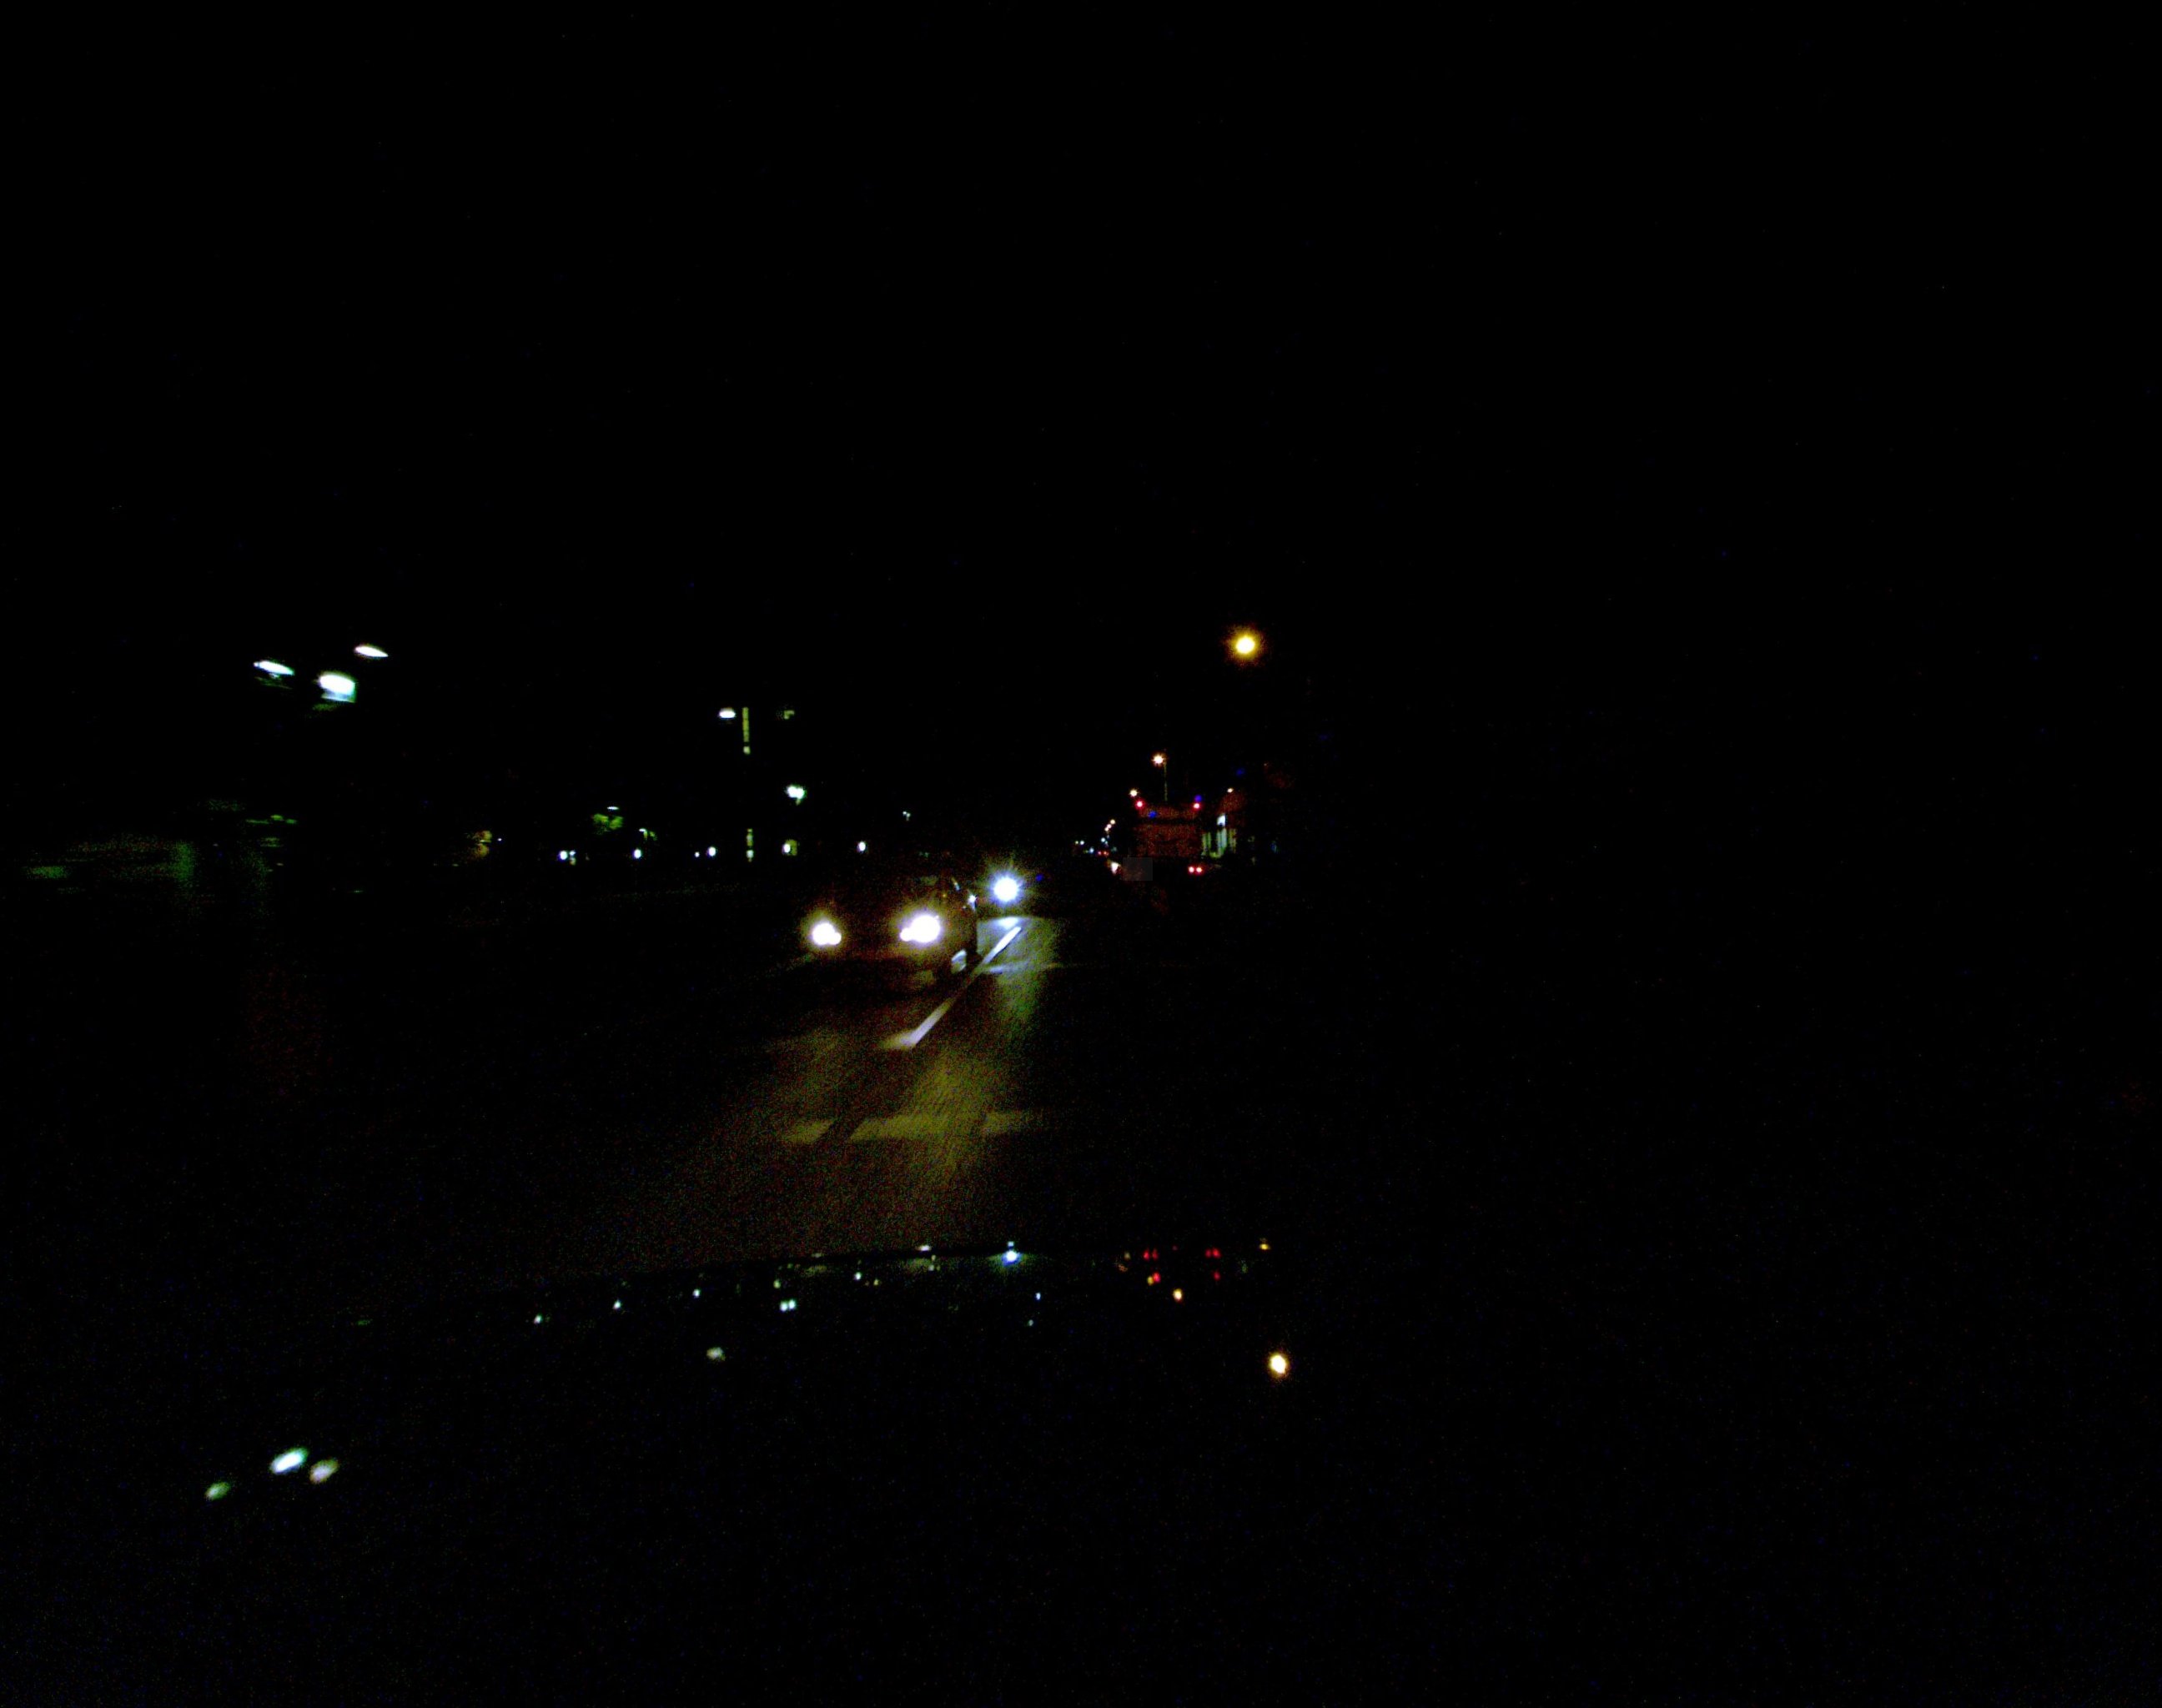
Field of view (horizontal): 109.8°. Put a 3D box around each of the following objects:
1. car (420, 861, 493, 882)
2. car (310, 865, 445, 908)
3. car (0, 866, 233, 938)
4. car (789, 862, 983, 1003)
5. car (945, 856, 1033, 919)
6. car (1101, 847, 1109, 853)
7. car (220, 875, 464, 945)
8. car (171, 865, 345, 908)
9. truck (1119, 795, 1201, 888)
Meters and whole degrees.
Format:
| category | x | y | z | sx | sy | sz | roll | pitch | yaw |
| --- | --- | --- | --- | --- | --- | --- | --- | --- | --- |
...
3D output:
| category | x | y | z | sx | sy | sz | roll | pitch | yaw |
| --- | --- | --- | --- | --- | --- | --- | --- | --- | --- |
| car | -48.053 | 1.322 | 58.580 | 1.998 | 1.499 | 4.301 | -1 | 0 | 1 |
| car | -29.251 | 1.304 | 31.795 | 1.773 | 1.524 | 4.098 | -1 | 1 | 1 |
| car | -24.555 | 1.132 | 19.158 | 1.786 | 1.524 | 4.000 | -1 | 1 | 1 |
| car | -2.551 | 0.949 | 10.936 | 1.641 | 1.486 | 4.000 | -3 | 1 | 1 |
| car | -2.583 | 0.900 | 22.485 | 1.809 | 1.485 | 4.729 | -4 | 1 | 2 |
| car | 5.718 | -1.012 | 181.647 | 1.671 | 1.420 | 3.999 | 0 | 1 | 0 |
| car | -18.254 | 1.307 | 19.128 | 1.516 | 1.387 | 4.483 | -1 | 1 | 5 |
| car | -33.986 | 1.295 | 31.623 | 1.894 | 1.504 | 4.891 | -1 | 1 | 0 |
| truck | 3.497 | -0.560 | 36.126 | 2.762 | 3.696 | 10.111 | 2 | 1 | 0 |
